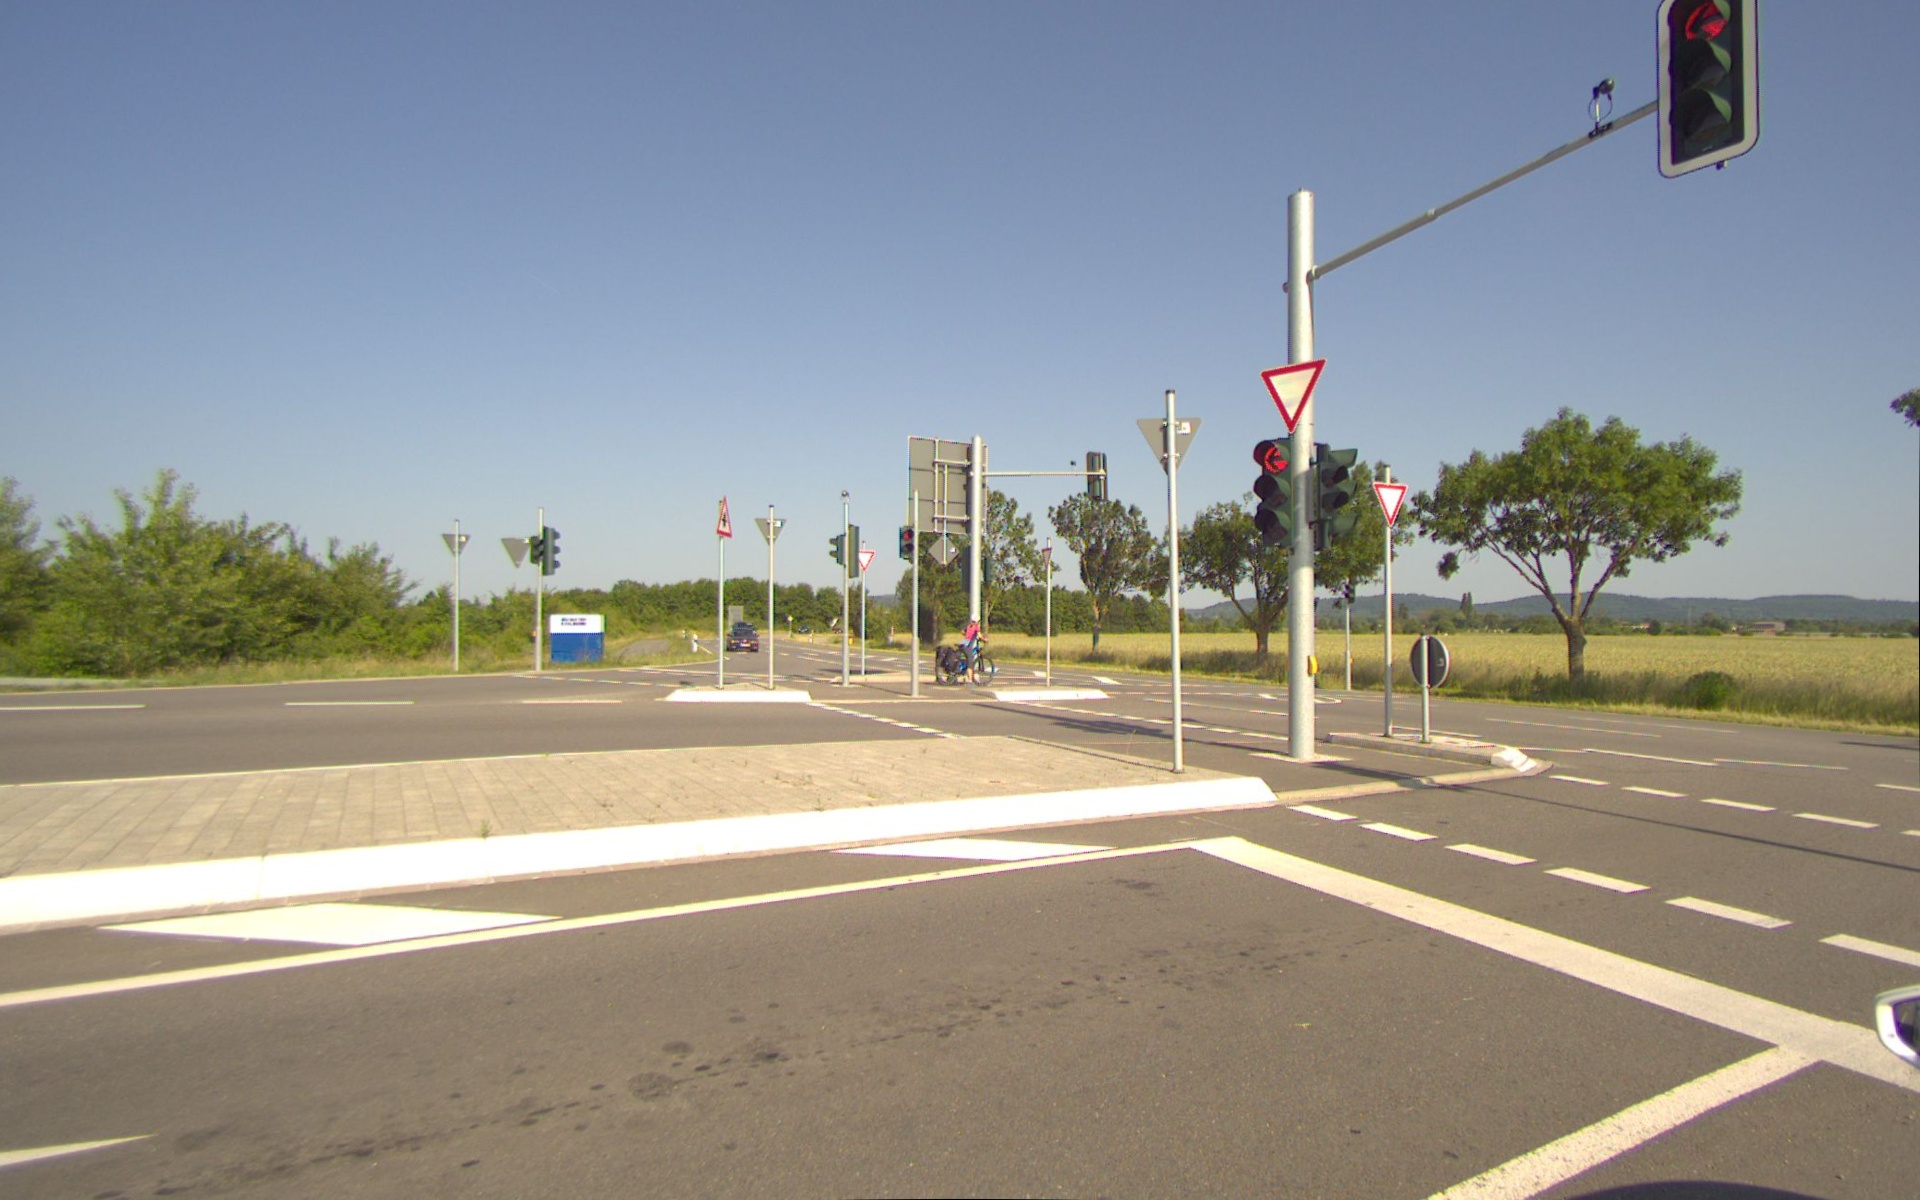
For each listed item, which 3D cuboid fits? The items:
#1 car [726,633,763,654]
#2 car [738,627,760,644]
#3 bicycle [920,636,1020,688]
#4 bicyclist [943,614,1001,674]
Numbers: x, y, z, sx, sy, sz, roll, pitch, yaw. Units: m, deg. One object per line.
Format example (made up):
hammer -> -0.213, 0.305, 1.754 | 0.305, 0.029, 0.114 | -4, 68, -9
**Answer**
car -> -12.533, 2.496, 58.239 | 1.712, 1.127, 3.986 | 3, -2, -17
car -> -19.728, 3.284, 93.816 | 1.831, 1.562, 3.989 | 2, -2, -14
bicycle -> 0.255, 1.486, 24.007 | 2.126, 1.164, 1.065 | 3, -1, -31
bicyclist -> 0.286, 1.056, 24.052 | 1.062, 1.369, 0.851 | 3, -1, -31
